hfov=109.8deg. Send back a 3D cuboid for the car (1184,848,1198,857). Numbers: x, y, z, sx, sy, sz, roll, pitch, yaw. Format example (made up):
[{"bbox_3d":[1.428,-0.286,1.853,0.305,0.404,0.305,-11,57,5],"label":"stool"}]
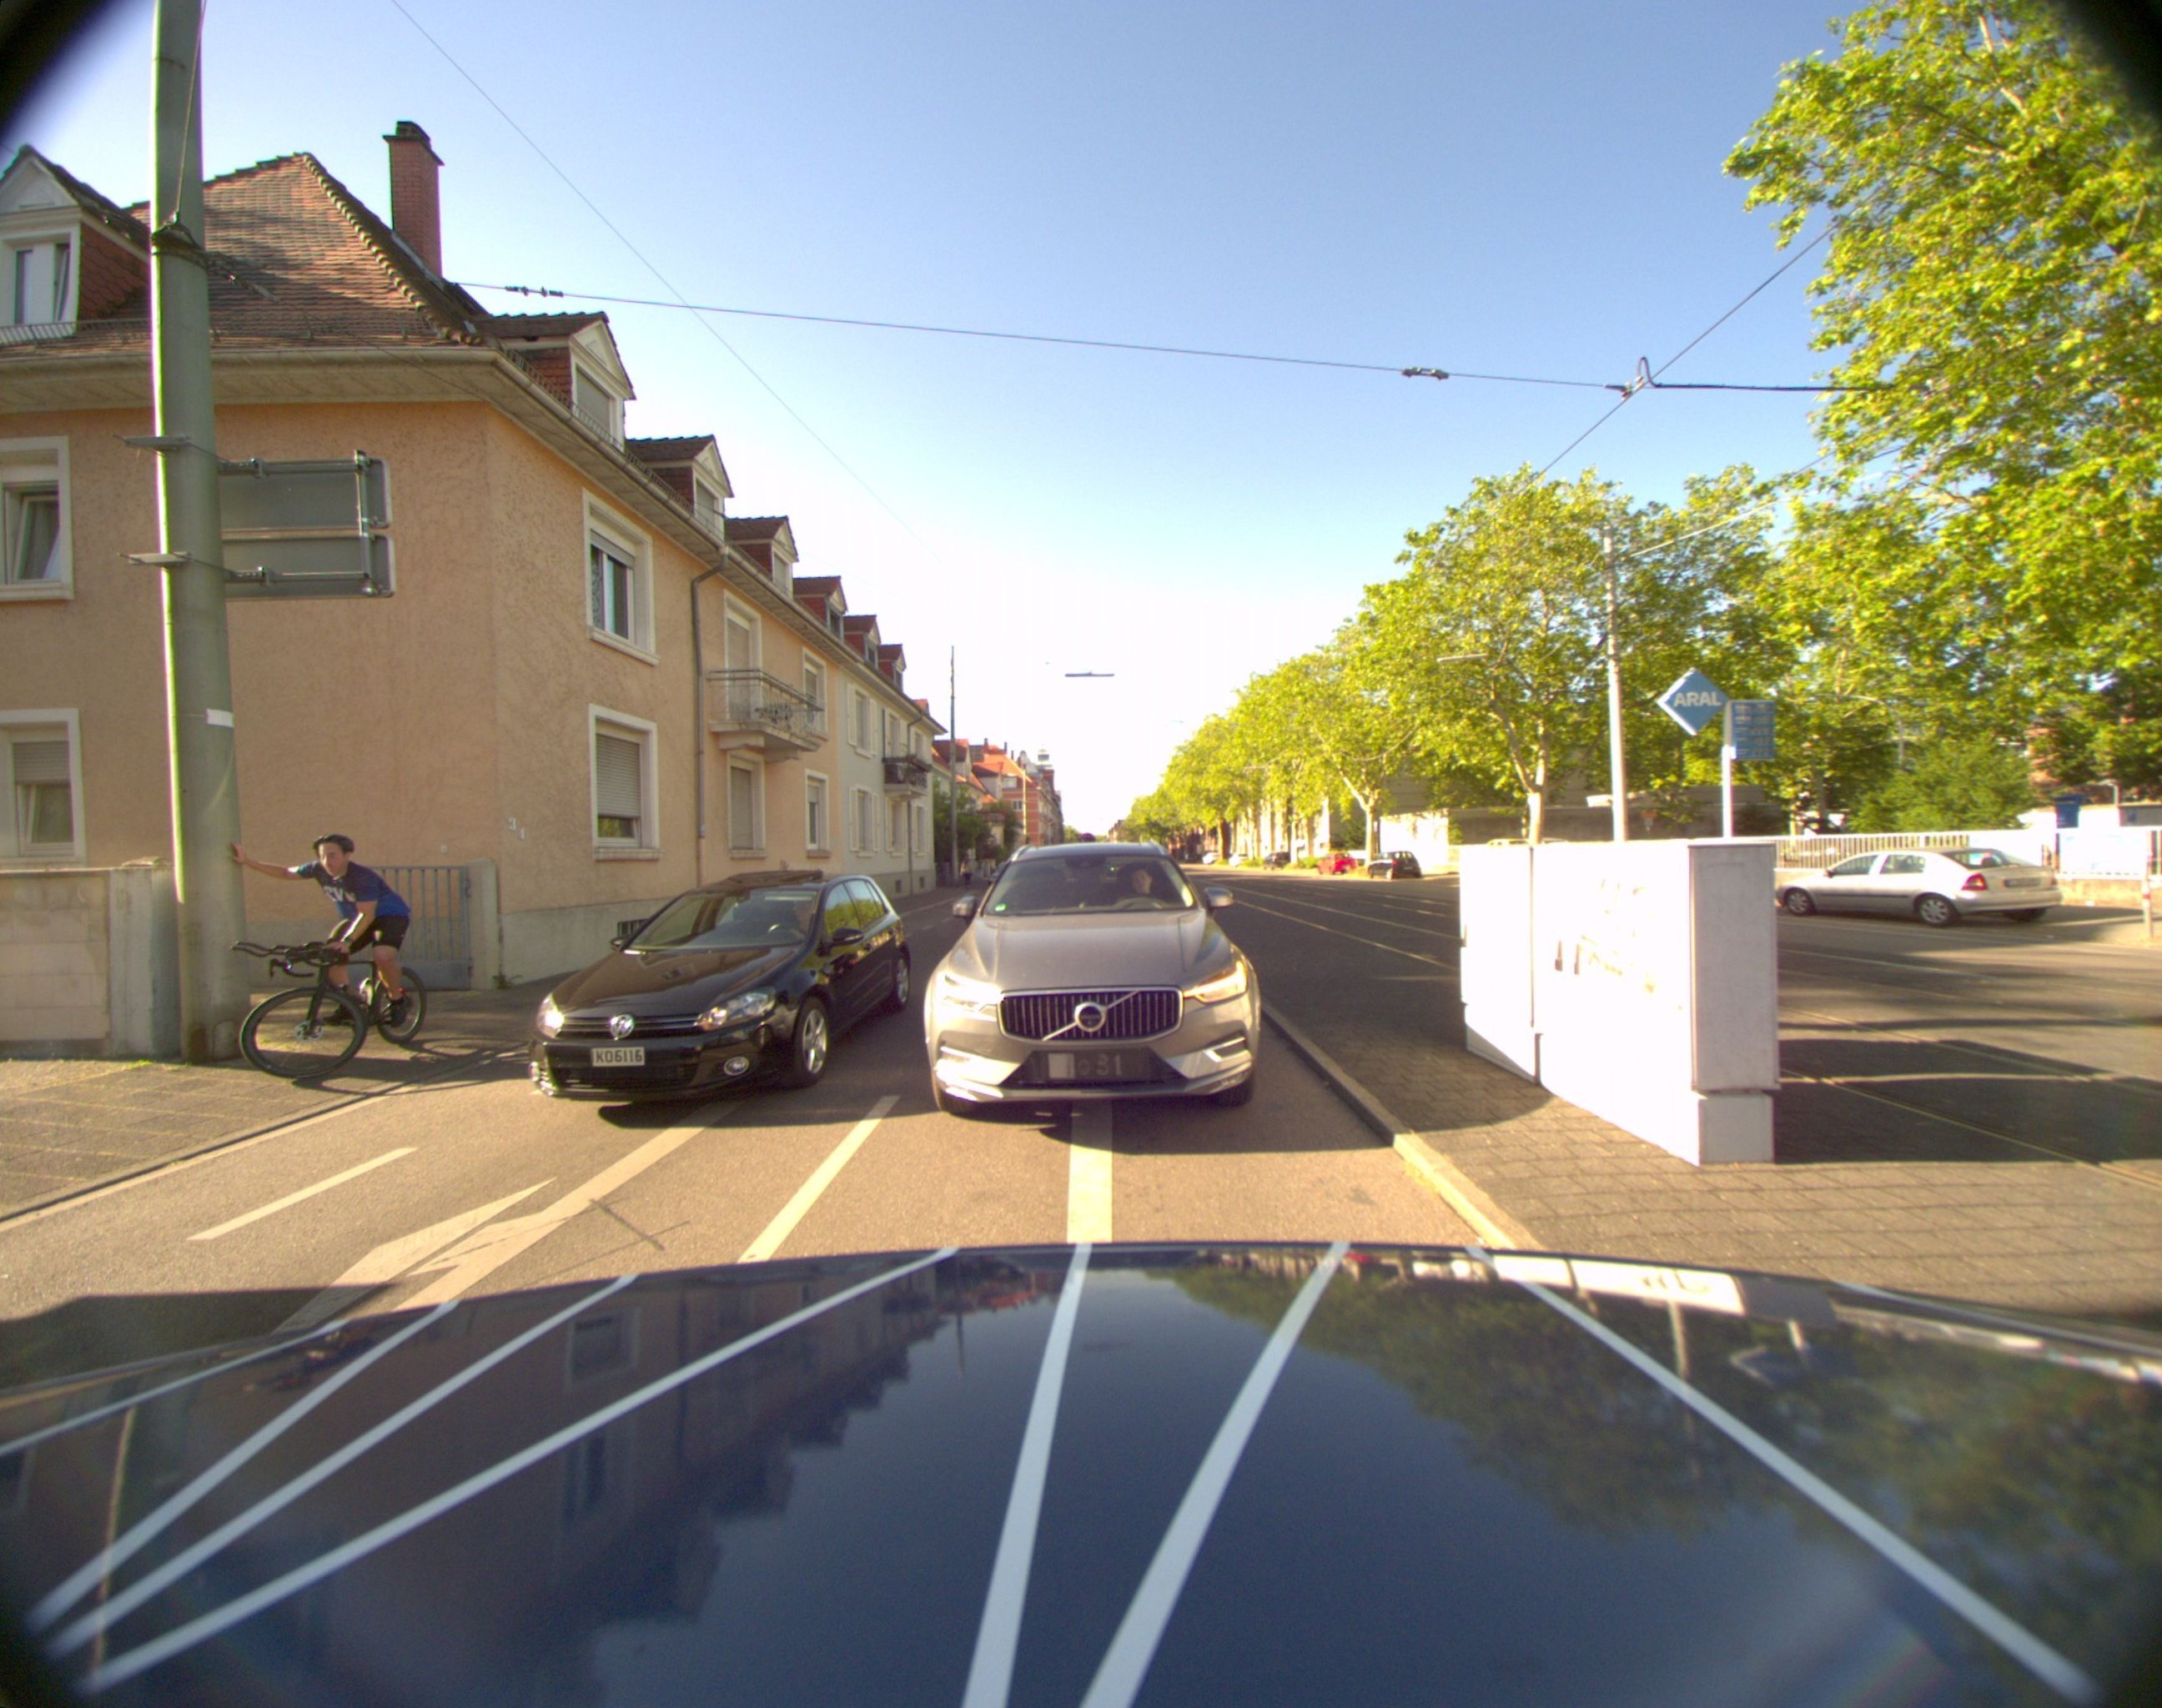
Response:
[{"bbox_3d":[18.200,-0.224,125.633,1.802,1.504,4.000,-1,0,1],"label":"car"}]

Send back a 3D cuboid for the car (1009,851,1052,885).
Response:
[{"bbox_3d":[-2.785,0.715,42.889,1.751,1.767,5.351,-1,0,3],"label":"car"}]

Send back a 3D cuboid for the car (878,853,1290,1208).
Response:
[{"bbox_3d":[0.045,0.851,5.806,1.940,1.650,4.321,-1,0,1],"label":"car"}]

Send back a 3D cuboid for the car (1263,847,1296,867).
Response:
[{"bbox_3d":[17.199,0.284,66.045,1.802,1.652,4.000,-1,0,1],"label":"car"}]

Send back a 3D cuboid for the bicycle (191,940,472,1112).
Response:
[{"bbox_3d":[-5.939,1.302,6.180,0.572,0.986,1.698,2,0,1],"label":"bicycle"}]

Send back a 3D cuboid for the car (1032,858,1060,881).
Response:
[{"bbox_3d":[-2.462,1.084,54.444,1.785,1.468,4.000,-1,0,1],"label":"car"}]

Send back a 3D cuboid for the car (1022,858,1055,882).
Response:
[{"bbox_3d":[-2.679,0.990,48.308,1.785,1.346,4.000,-1,0,1],"label":"car"}]

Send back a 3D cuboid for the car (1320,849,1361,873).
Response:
[{"bbox_3d":[16.947,0.433,49.754,1.641,1.499,3.046,-1,0,1],"label":"car"}]

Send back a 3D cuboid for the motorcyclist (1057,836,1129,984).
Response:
[{"bbox_3d":[0.156,0.696,10.070,0.827,1.832,1.159,-2,1,1],"label":"motorcyclist"}]

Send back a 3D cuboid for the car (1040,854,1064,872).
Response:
[{"bbox_3d":[-2.557,0.766,66.833,1.875,1.477,4.000,-1,0,1],"label":"car"}]

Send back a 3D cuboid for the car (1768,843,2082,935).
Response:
[{"bbox_3d":[16.249,0.596,14.995,1.795,1.455,3.966,-4,0,2],"label":"car"}]

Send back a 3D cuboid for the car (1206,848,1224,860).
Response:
[{"bbox_3d":[17.737,-0.014,100.675,1.802,1.504,4.000,-1,0,1],"label":"car"}]

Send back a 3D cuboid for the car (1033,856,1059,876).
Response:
[{"bbox_3d":[-2.747,0.944,60.680,1.785,1.468,4.000,-1,0,1],"label":"car"}]

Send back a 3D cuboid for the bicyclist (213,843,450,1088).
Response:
[{"bbox_3d":[-6.144,0.862,6.295,1.076,1.854,0.846,2,1,1],"label":"bicyclist"}]

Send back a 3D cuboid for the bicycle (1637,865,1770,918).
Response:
[{"bbox_3d":[14.371,0.825,17.673,1.059,1.095,2.519,0,0,1],"label":"bicycle"}]

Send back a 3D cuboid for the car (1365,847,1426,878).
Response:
[{"bbox_3d":[16.886,0.420,40.984,1.826,1.521,3.653,-2,0,1],"label":"car"}]

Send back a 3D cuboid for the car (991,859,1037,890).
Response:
[{"bbox_3d":[-3.207,0.964,37.030,1.647,1.357,3.868,-1,0,4],"label":"car"}]

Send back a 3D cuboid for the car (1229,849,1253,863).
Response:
[{"bbox_3d":[17.550,0.219,83.431,1.802,1.489,4.000,-1,0,1],"label":"car"}]

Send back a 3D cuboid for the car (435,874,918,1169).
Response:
[{"bbox_3d":[-2.736,1.011,6.363,1.762,1.513,4.101,-1,0,1],"label":"car"}]

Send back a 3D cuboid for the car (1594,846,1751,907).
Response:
[{"bbox_3d":[16.435,0.574,21.344,1.692,1.455,3.519,-4,0,2],"label":"car"}]

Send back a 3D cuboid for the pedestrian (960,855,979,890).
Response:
[{"bbox_3d":[-5.345,0.881,36.480,0.694,1.652,1.098,-2,1,0],"label":"pedestrian"}]

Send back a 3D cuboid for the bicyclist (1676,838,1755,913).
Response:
[{"bbox_3d":[14.362,0.479,17.234,0.934,1.628,1.028,-1,1,0],"label":"bicyclist"}]

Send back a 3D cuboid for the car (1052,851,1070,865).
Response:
[{"bbox_3d":[-2.200,0.448,85.495,1.875,1.477,4.000,-1,0,1],"label":"car"}]
